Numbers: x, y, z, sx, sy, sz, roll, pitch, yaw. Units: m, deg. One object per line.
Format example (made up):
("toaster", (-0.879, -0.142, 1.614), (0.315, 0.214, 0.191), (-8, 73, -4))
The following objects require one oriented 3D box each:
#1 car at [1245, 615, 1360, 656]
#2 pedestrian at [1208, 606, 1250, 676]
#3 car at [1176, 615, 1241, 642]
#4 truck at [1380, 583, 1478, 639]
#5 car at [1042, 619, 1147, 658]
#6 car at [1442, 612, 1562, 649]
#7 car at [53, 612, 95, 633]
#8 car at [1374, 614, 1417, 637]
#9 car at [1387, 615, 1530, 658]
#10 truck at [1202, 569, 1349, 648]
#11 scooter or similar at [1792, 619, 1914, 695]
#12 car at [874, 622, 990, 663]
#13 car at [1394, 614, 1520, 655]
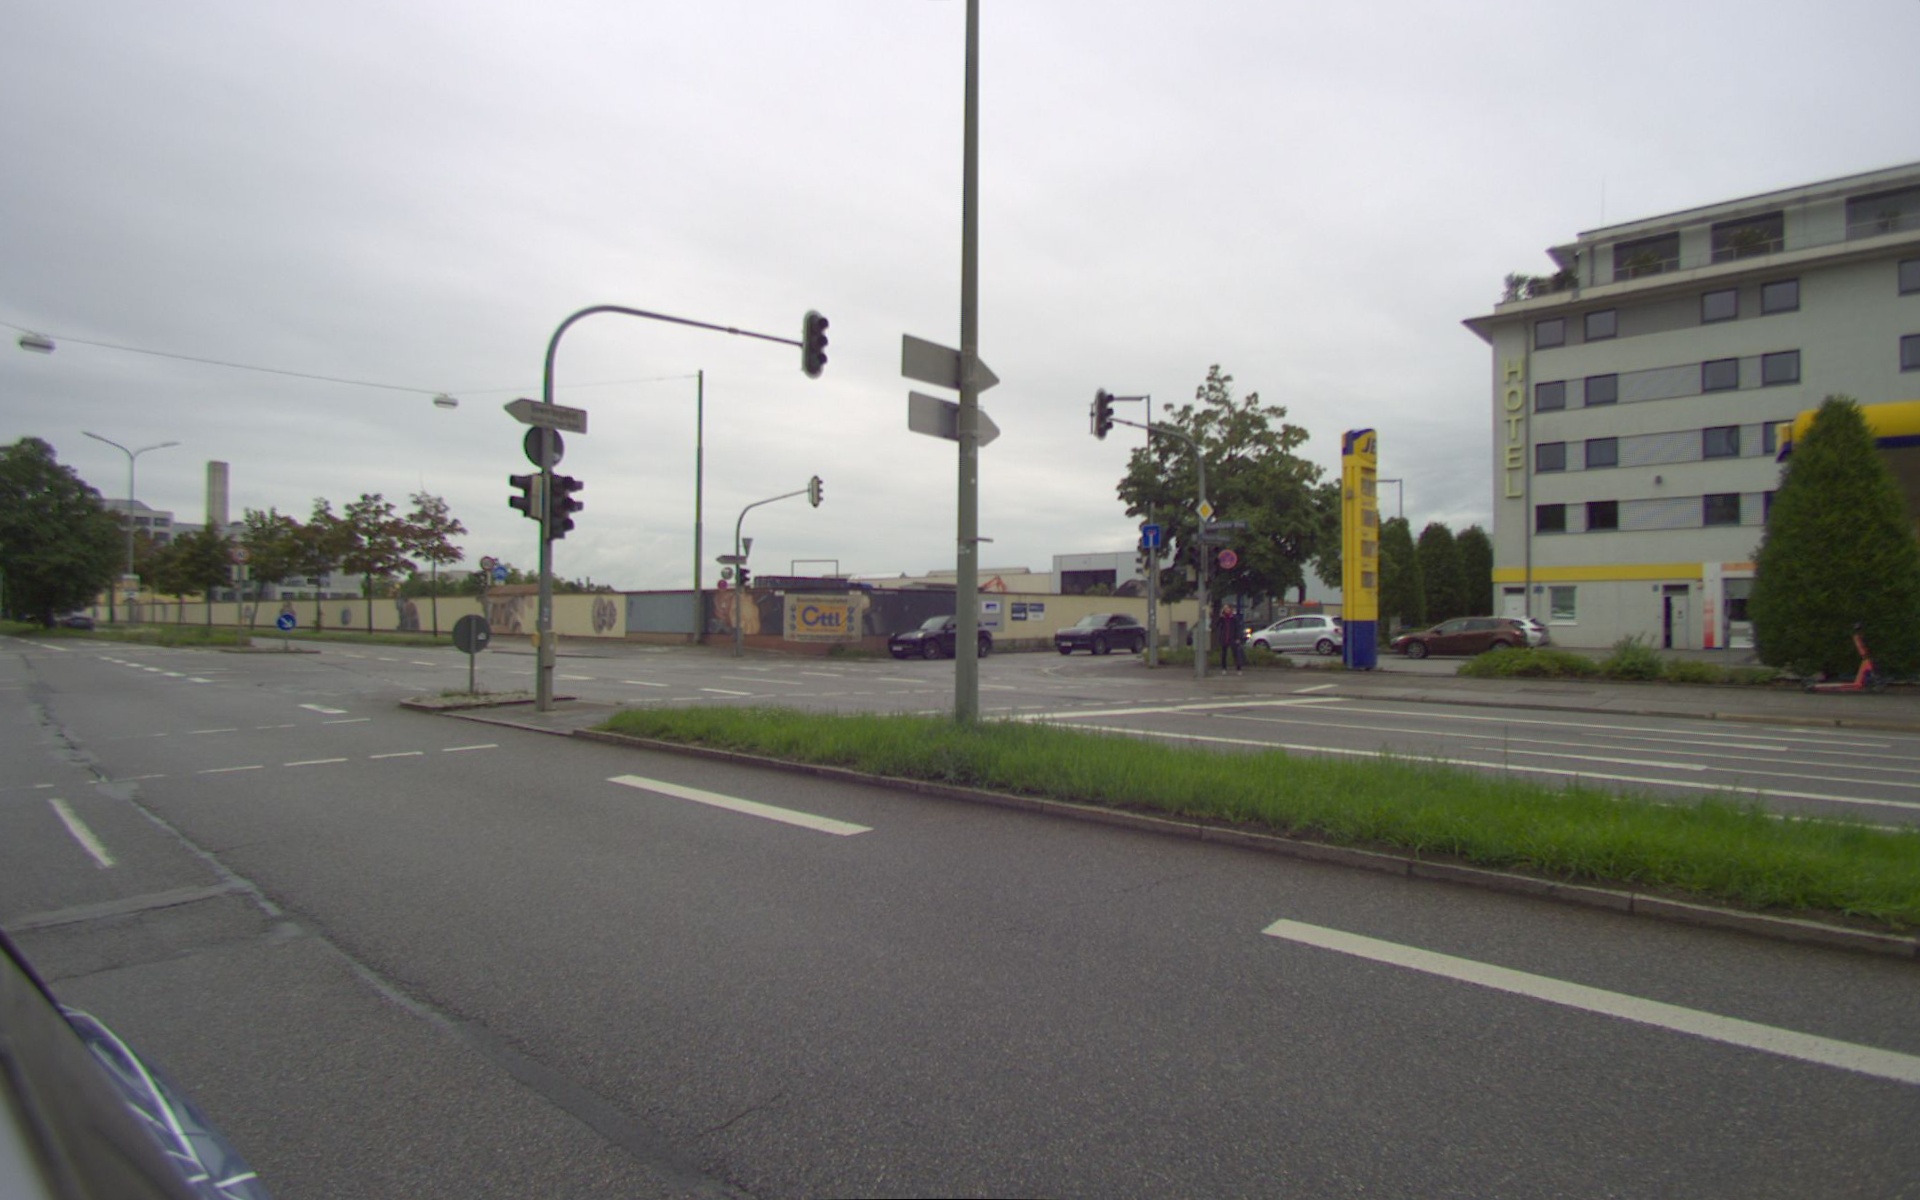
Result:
("car", (13.373, 1.379, 39.598), (3.975, 1.497, 1.607), (-1, -3, 40))
("pedestrian", (6.482, 0.968, 24.391), (0.687, 1.627, 0.794), (-1, 0, 41))
("car", (13.981, 1.581, 56.805), (1.765, 1.487, 3.941), (-1, -2, 45))
("truck", (35.127, 0.839, 75.451), (2.880, 3.861, 11.763), (-1, -2, 44))
("car", (5.649, 1.556, 42.192), (2.001, 1.544, 4.565), (-1, -2, 44))
("car", (22.946, 1.300, 42.905), (4.191, 1.489, 1.882), (-1, -3, 41))
("car", (-67.340, 1.695, 76.873), (4.438, 1.519, 1.891), (-1, -3, 42))
("car", (33.829, 1.984, 78.589), (1.873, 1.719, 4.045), (-1, -3, 42))
("car", (17.303, 1.248, 35.191), (4.349, 1.394, 1.685), (-1, -3, 32))
("truck", (17.368, 0.518, 54.965), (2.611, 3.885, 11.763), (-1, -2, 44))
("scooter or similar", (15.502, 0.964, 17.596), (0.351, 1.252, 1.546), (-2, 0, -43))
("car", (-1.010, 1.576, 38.374), (2.001, 1.439, 4.202), (-1, -2, 44))
("car", (18.682, 1.295, 38.131), (3.979, 1.497, 1.605), (-1, -3, 44))
